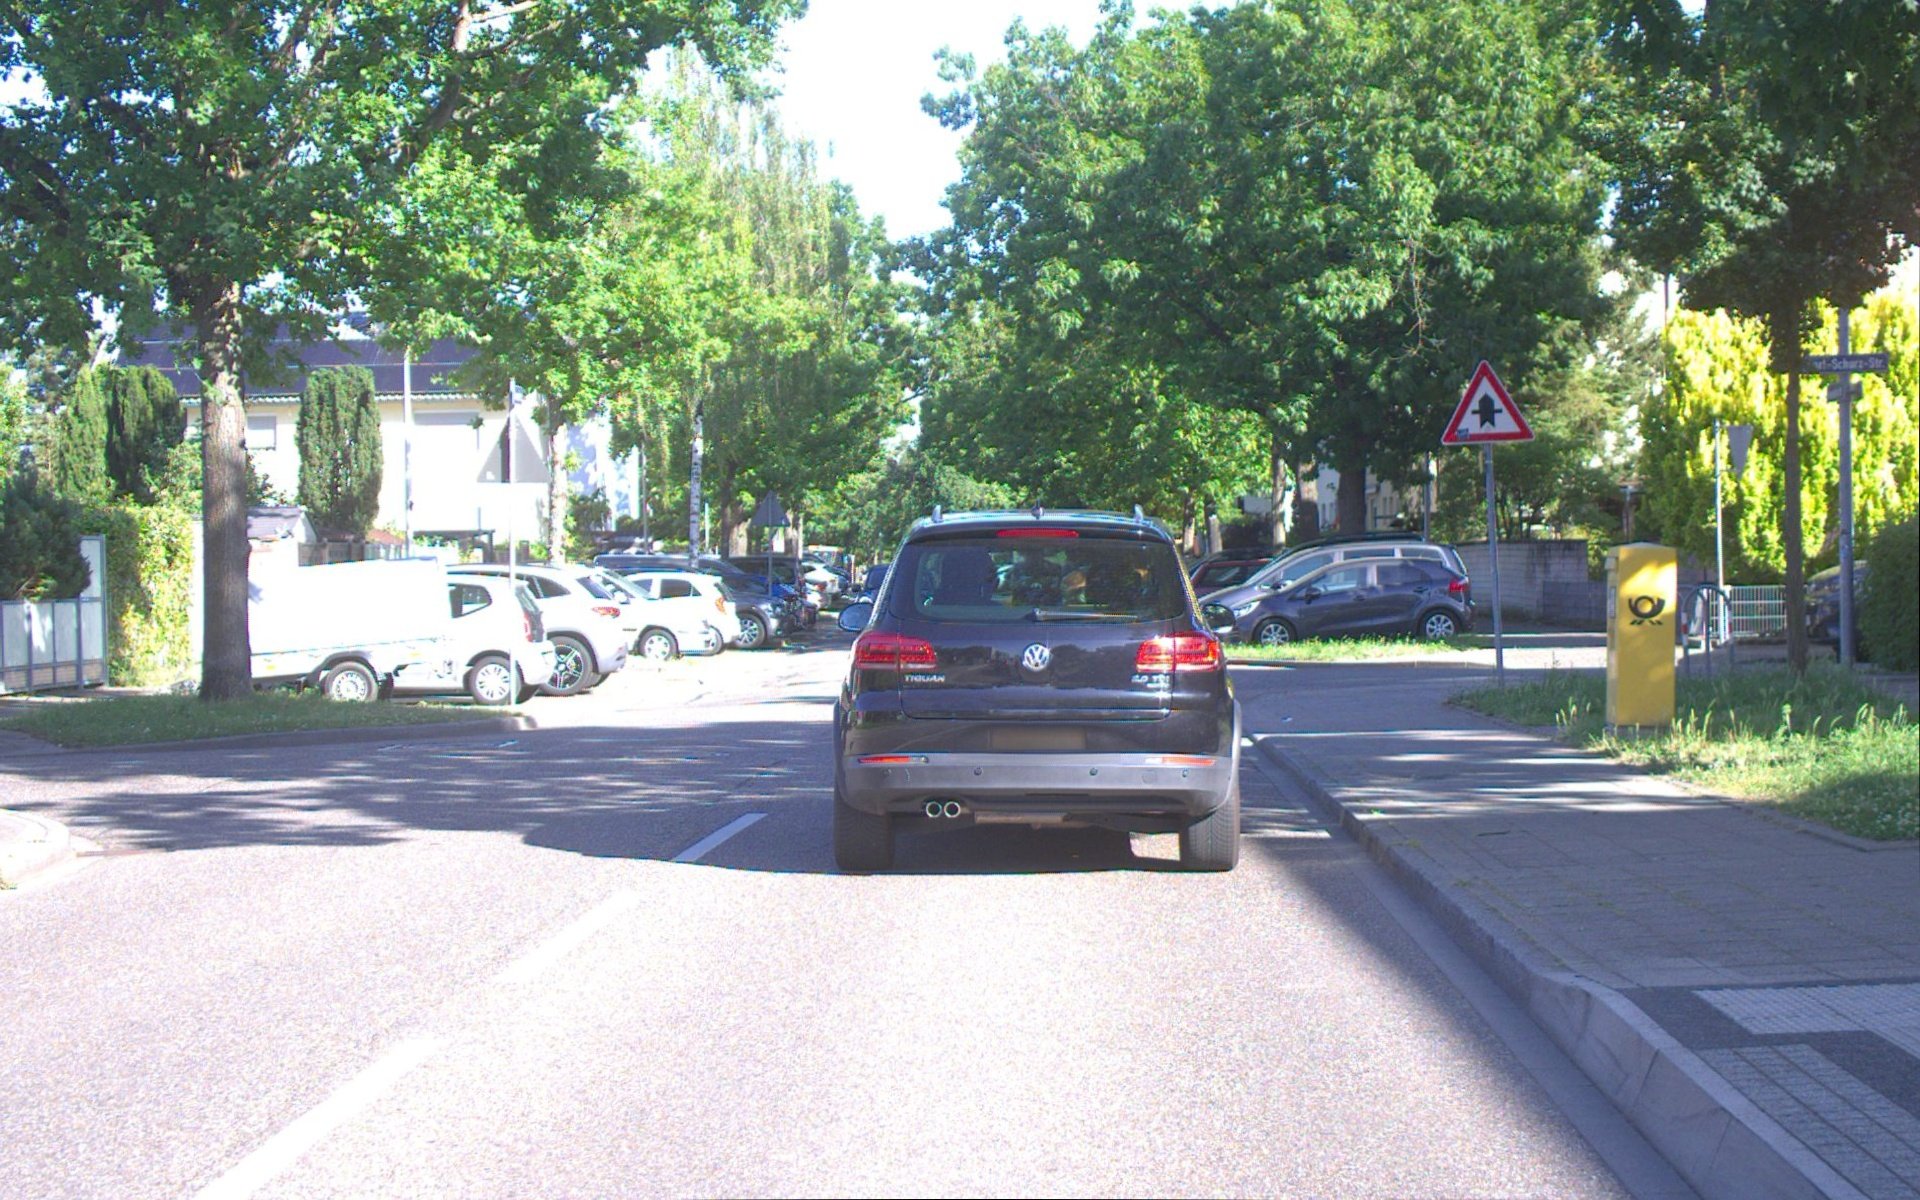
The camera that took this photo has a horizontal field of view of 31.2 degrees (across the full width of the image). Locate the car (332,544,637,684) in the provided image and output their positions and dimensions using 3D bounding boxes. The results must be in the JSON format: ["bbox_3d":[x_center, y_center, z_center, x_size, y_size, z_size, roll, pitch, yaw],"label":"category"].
[{"bbox_3d":[-5.729,0.154,41.794,3.548,1.608,1.853,-1,1,-5],"label":"car"}]

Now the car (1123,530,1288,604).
[{"bbox_3d":[6.050,-0.818,85.060,3.987,1.769,1.789,-1,1,2],"label":"car"}]

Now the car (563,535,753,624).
[{"bbox_3d":[-6.492,-0.448,74.179,3.986,1.830,1.638,-1,1,-3],"label":"car"}]

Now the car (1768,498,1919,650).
[{"bbox_3d":[13.031,-0.341,43.102,5.240,1.841,2.072,-1,-1,-1],"label":"car"}]

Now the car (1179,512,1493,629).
[{"bbox_3d":[6.504,-0.517,59.868,5.259,1.939,2.000,-1,1,1],"label":"car"}]

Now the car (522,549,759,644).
[{"bbox_3d":[-5.726,-0.075,61.943,3.987,1.634,2.000,-1,1,3],"label":"car"}]

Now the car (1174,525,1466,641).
[{"bbox_3d":[5.917,-0.284,56.844,4.633,1.803,1.824,-1,1,1],"label":"car"}]

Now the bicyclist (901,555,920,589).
[{"bbox_3d":[-2.005,-1.141,138.904,0.700,1.341,0.506,-1,-1,-3],"label":"bicyclist"}]

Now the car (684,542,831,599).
[{"bbox_3d":[-5.742,-0.830,97.626,3.987,1.493,2.000,-1,-1,2],"label":"car"}]

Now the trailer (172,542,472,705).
[{"bbox_3d":[-6.794,0.233,36.780,2.966,1.650,1.396,-1,1,-3],"label":"trailer"}]

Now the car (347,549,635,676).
[{"bbox_3d":[-6.042,0.155,44.598,3.548,1.552,1.853,-1,0,-3],"label":"car"}]

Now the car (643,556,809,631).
[{"bbox_3d":[-4.831,-0.142,71.276,3.370,1.485,1.644,-1,1,-3],"label":"car"}]

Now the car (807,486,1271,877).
[{"bbox_3d":[0.239,0.312,16.926,1.929,1.649,4.515,1,1,-3],"label":"car"}]

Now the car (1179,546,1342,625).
[{"bbox_3d":[5.991,-0.287,68.699,3.043,1.502,1.247,-1,1,-5],"label":"car"}]

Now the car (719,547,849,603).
[{"bbox_3d":[-5.610,-0.792,109.260,3.986,1.678,1.924,-1,1,-7],"label":"car"}]

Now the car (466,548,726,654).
[{"bbox_3d":[-5.961,0.007,56.607,3.987,1.664,2.000,-1,1,2],"label":"car"}]

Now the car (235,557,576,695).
[{"bbox_3d":[-6.267,0.279,39.129,3.549,1.472,1.808,-1,1,1],"label":"car"}]

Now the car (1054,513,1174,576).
[{"bbox_3d":[5.216,-1.868,116.727,3.987,2.007,2.000,-1,-1,2],"label":"car"}]

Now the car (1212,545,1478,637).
[{"bbox_3d":[6.048,-0.148,54.343,3.987,1.364,1.846,-1,1,1],"label":"car"}]

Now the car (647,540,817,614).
[{"bbox_3d":[-5.538,-0.551,83.795,3.987,1.714,1.821,-1,-1,1],"label":"car"}]

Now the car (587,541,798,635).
[{"bbox_3d":[-5.159,-0.249,66.689,3.986,1.725,2.000,-1,1,-3],"label":"car"}]

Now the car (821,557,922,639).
[{"bbox_3d":[-1.794,-0.067,70.747,1.909,1.550,4.000,-2,1,0],"label":"car"}]
